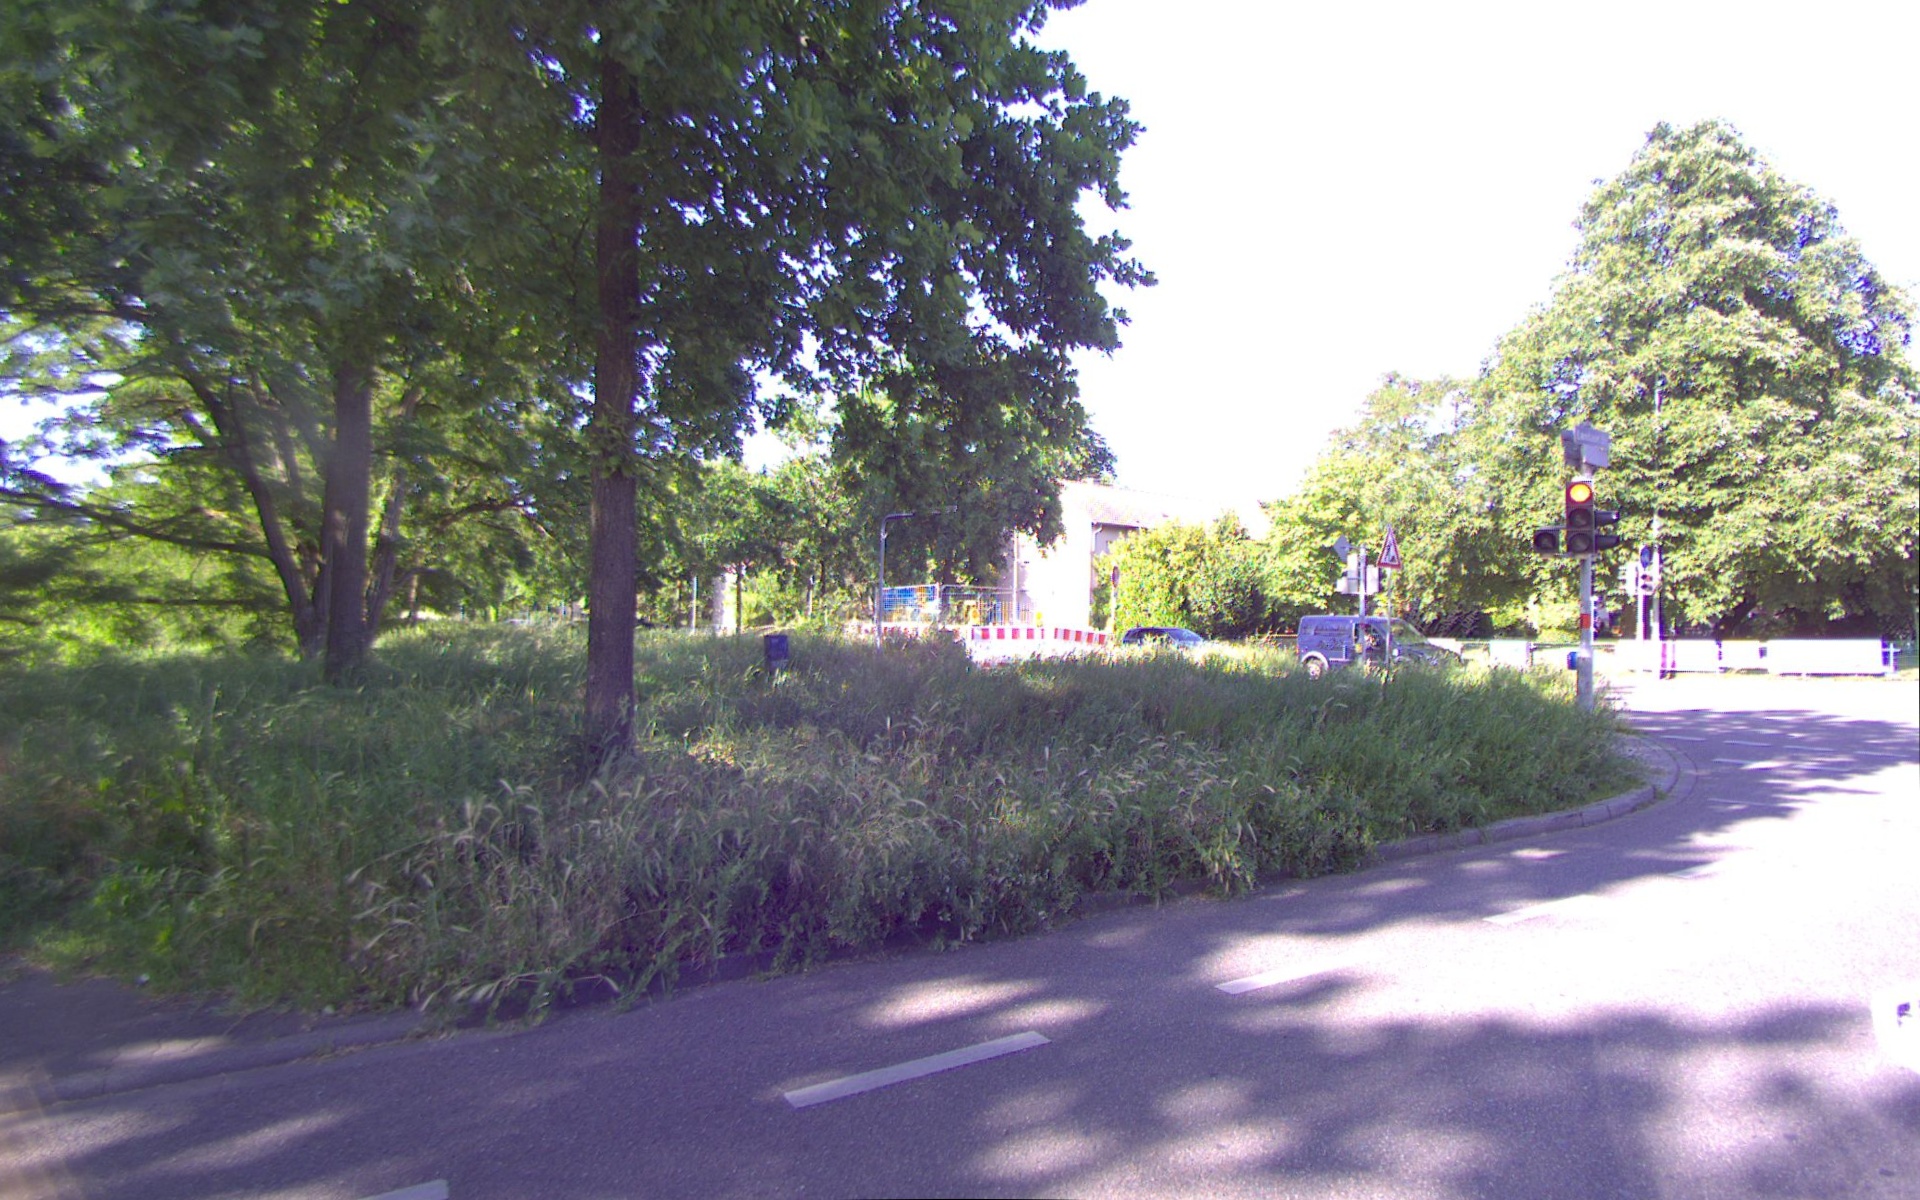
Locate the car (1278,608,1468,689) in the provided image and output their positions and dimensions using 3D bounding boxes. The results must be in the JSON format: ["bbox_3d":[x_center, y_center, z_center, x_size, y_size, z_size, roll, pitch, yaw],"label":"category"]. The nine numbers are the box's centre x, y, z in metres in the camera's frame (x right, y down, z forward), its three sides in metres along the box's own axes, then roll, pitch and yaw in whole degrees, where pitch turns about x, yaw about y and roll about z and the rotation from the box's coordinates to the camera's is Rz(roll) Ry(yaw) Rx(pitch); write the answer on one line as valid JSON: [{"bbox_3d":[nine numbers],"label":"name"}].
[{"bbox_3d":[10.635,1.203,26.137,1.840,1.912,4.319,1,-1,-33],"label":"car"}]

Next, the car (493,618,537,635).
[{"bbox_3d":[-46.494,2.773,104.997,3.939,1.673,1.991,2,0,-20],"label":"car"}]

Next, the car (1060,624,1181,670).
[{"bbox_3d":[5.507,1.595,34.984,1.892,1.508,4.261,1,-2,-31],"label":"car"}]
